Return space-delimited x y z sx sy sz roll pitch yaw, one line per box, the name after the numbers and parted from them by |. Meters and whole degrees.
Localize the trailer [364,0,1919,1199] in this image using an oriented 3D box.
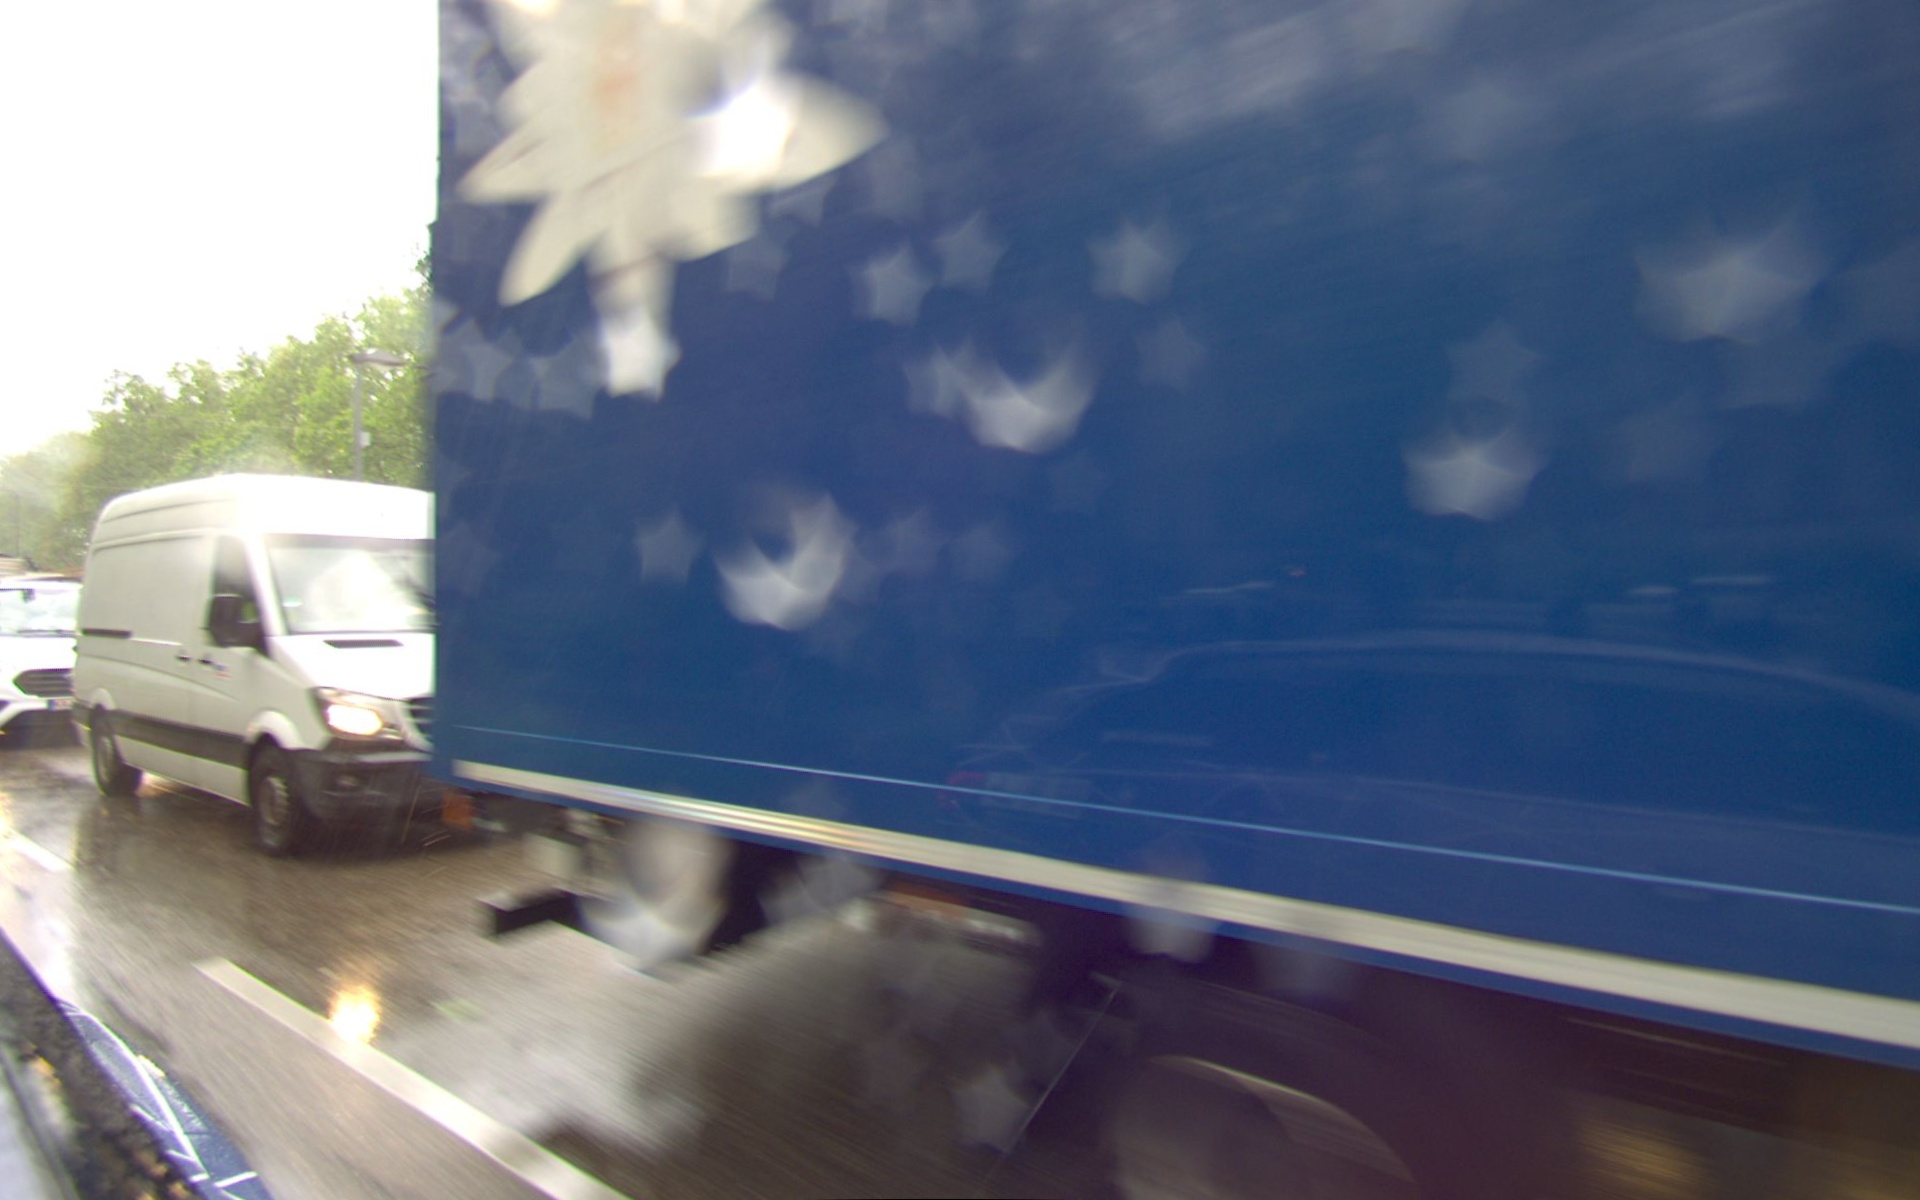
1.820 -0.550 2.128 7.622 3.929 2.567 -1 -1 37 | trailer

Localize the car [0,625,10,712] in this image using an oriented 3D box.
-18.591 1.197 18.181 3.801 1.490 1.709 0 -1 39 | car

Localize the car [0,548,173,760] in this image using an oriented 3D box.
-12.072 0.575 12.935 5.281 2.279 1.974 0 0 38 | car

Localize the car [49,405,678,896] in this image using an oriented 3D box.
-5.091 0.260 8.124 6.106 2.576 2.307 0 0 38 | car
